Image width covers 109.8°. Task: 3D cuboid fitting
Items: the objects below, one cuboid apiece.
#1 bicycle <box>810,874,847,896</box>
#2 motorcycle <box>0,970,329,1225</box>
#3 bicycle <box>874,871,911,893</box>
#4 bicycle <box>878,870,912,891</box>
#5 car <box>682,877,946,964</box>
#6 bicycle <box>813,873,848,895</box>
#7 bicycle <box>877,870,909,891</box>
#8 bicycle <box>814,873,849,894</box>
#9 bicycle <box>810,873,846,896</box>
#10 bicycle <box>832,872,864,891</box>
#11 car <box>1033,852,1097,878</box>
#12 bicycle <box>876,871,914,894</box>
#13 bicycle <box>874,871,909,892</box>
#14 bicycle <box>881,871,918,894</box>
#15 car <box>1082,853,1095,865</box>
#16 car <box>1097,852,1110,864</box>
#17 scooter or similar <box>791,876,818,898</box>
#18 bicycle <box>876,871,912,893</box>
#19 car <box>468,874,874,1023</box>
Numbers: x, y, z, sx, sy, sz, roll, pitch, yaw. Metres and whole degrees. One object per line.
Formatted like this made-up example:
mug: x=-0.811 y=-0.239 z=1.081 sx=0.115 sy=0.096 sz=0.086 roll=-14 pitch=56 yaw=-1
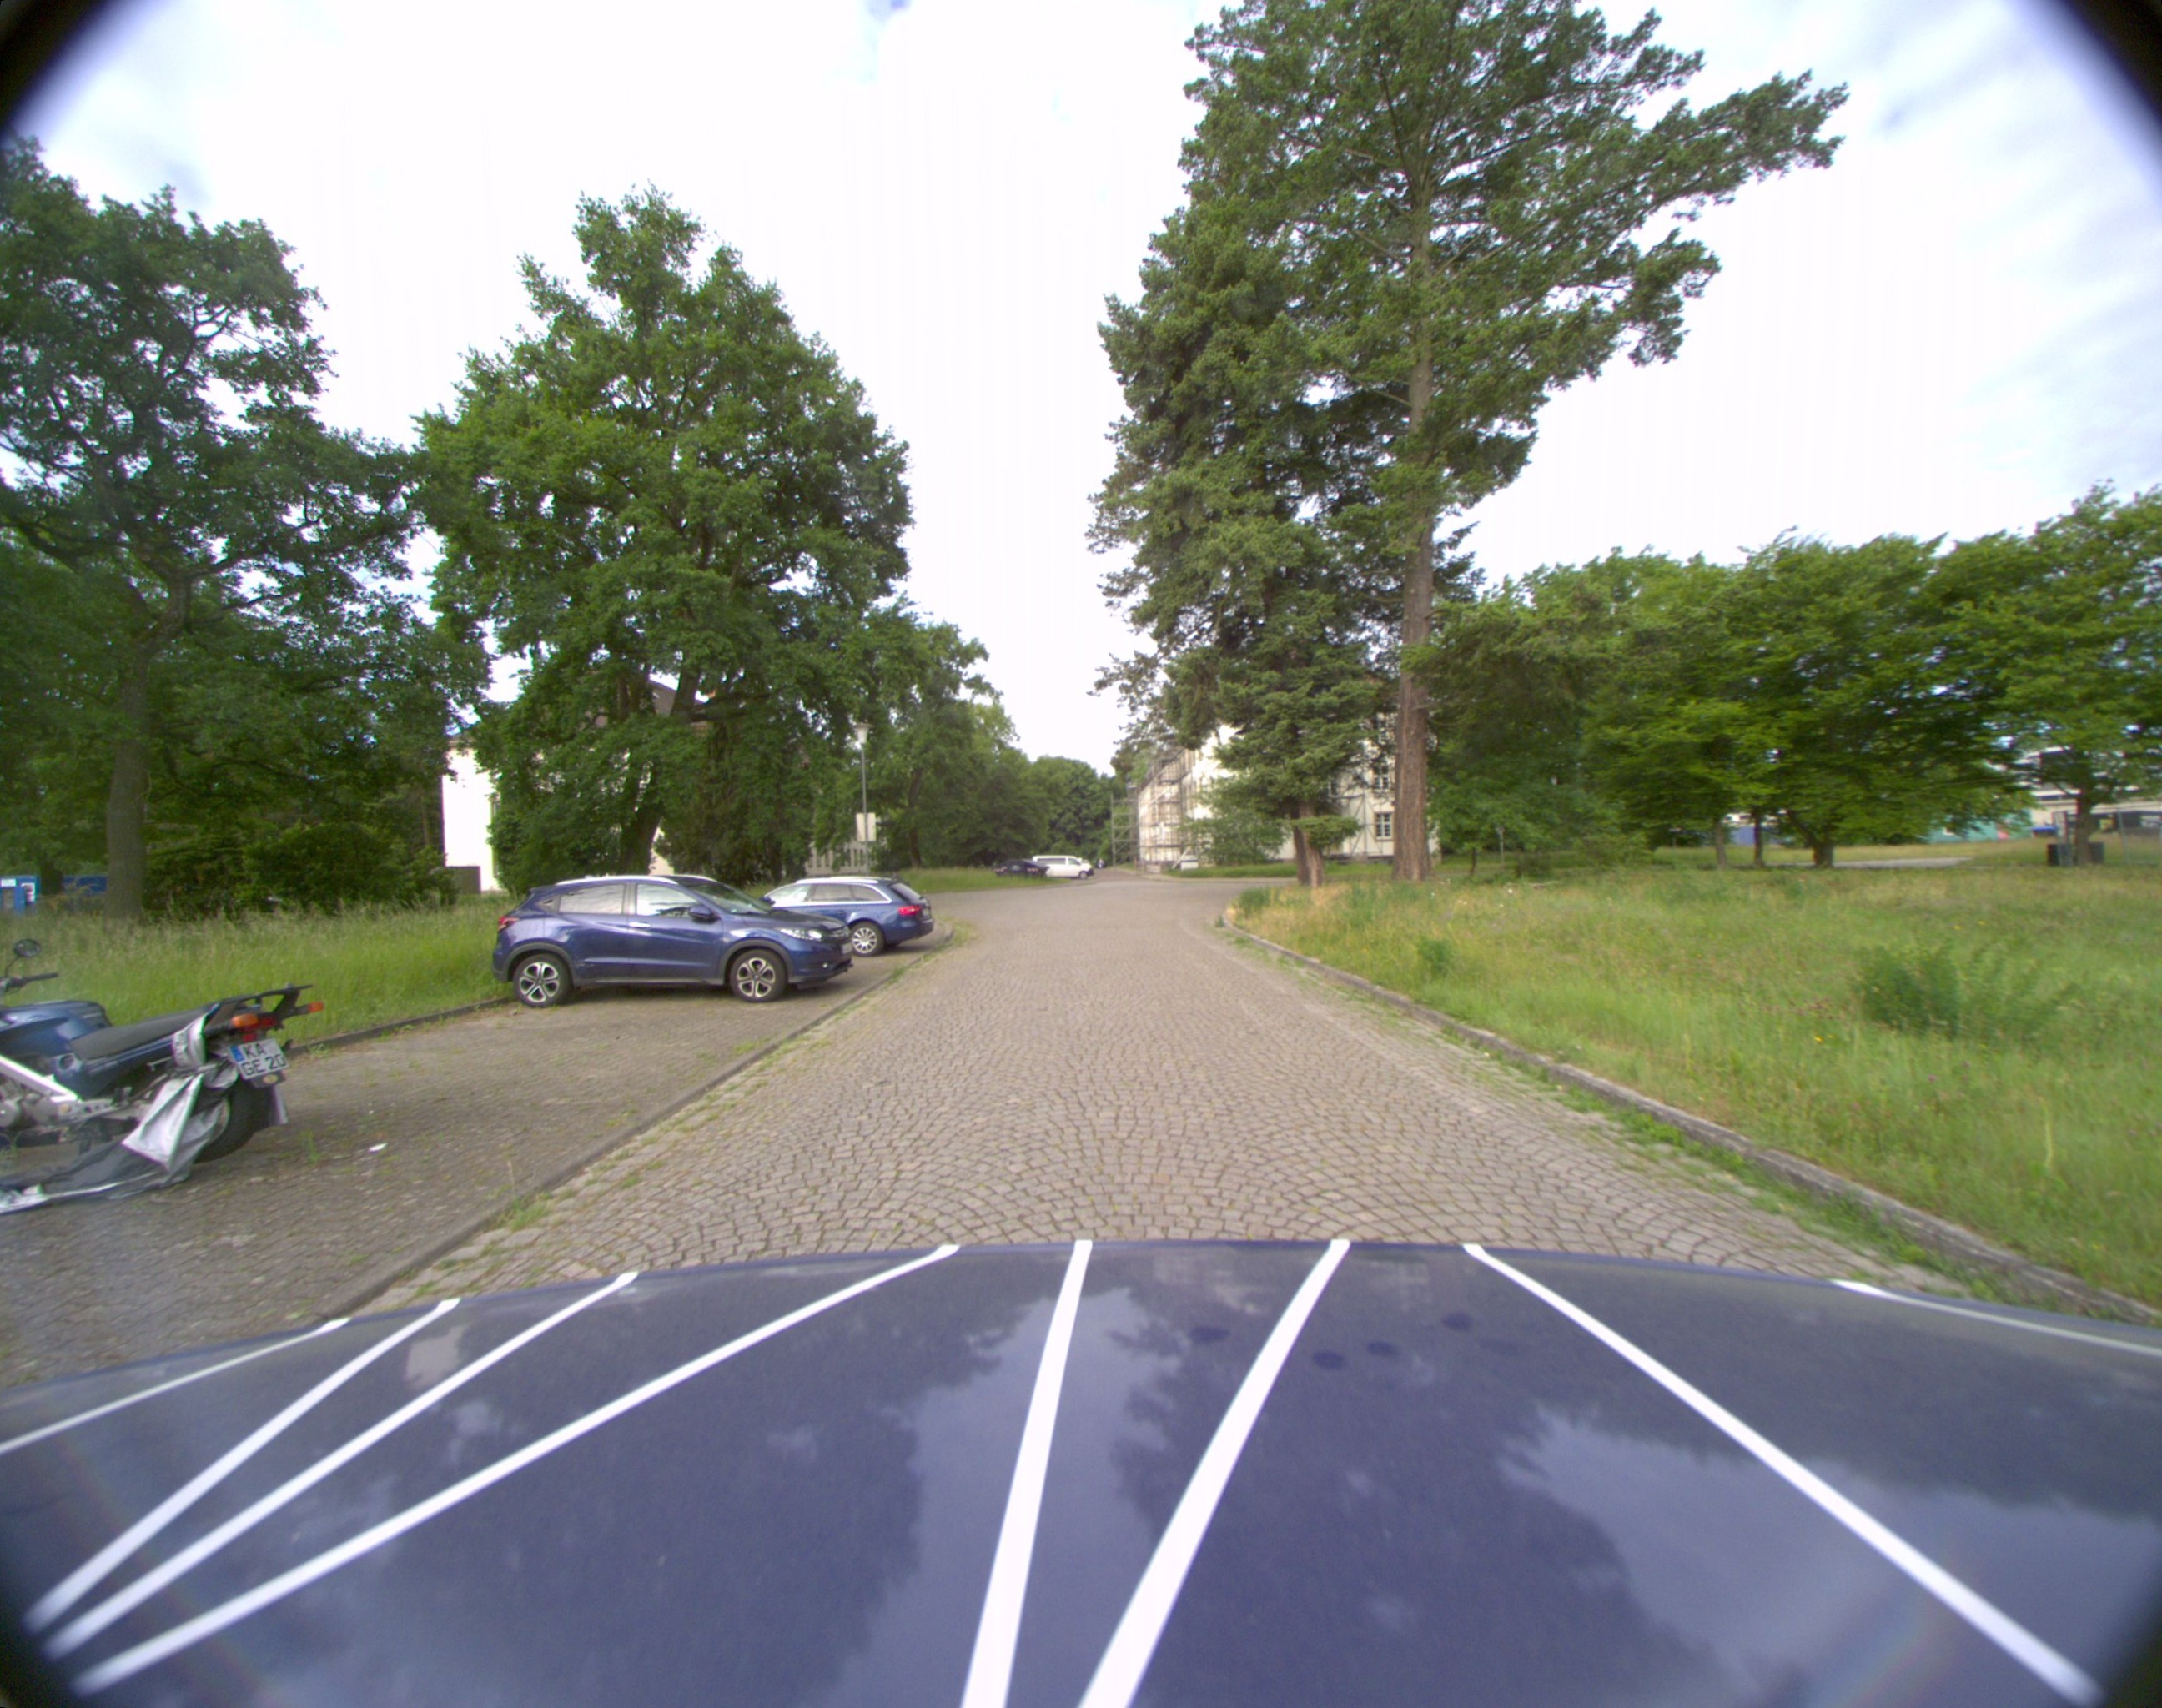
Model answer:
bicycle: x=-14.419 y=1.771 z=43.413 sx=1.862 sy=1.163 sz=0.487 roll=-3 pitch=0 yaw=-26
motorcycle: x=-5.587 y=1.311 z=4.178 sx=2.236 sy=1.195 sz=0.568 roll=-1 pitch=0 yaw=-2
bicycle: x=-11.080 y=1.648 z=44.672 sx=1.942 sy=1.163 sz=0.487 roll=-4 pitch=1 yaw=-25
bicycle: x=-11.627 y=1.672 z=47.530 sx=1.941 sy=1.163 sz=0.487 roll=-4 pitch=1 yaw=-22
car: x=-5.019 y=1.238 z=14.730 sx=4.367 sy=1.430 sz=1.927 roll=-1 pitch=0 yaw=2
bicycle: x=-14.753 y=1.762 z=44.690 sx=1.861 sy=1.163 sz=0.487 roll=-3 pitch=0 yaw=-22
bicycle: x=-12.071 y=1.695 z=48.766 sx=1.940 sy=1.163 sz=0.537 roll=-4 pitch=1 yaw=-16
bicycle: x=-14.900 y=1.768 z=45.456 sx=1.862 sy=1.163 sz=0.487 roll=-3 pitch=0 yaw=-29
bicycle: x=-14.624 y=1.757 z=43.979 sx=1.862 sy=1.163 sz=0.487 roll=-3 pitch=0 yaw=-26
bicycle: x=-14.720 y=1.708 z=47.978 sx=1.860 sy=1.163 sz=0.488 roll=-1 pitch=0 yaw=-10
car: x=-1.316 y=0.883 z=63.550 sx=5.149 sy=2.002 sz=2.000 roll=-2 pitch=1 yaw=0
bicycle: x=-10.557 y=1.622 z=43.079 sx=1.942 sy=1.163 sz=0.487 roll=-4 pitch=1 yaw=-28
bicycle: x=-11.694 y=1.679 z=46.917 sx=1.941 sy=1.163 sz=0.487 roll=-4 pitch=1 yaw=-22
bicycle: x=-10.448 y=1.611 z=43.757 sx=1.942 sy=1.163 sz=0.487 roll=-4 pitch=1 yaw=-28
car: x=1.268 y=0.816 z=129.738 sx=1.963 sy=2.002 sz=4.260 roll=-2 pitch=0 yaw=-1
car: x=3.802 y=0.713 z=129.994 sx=1.963 sy=2.002 sz=4.260 roll=-2 pitch=0 yaw=-1
scooter or similar: x=-15.505 y=1.844 z=42.626 sx=1.308 sy=1.163 sz=0.413 roll=-4 pitch=1 yaw=-1
bicycle: x=-11.143 y=1.650 z=45.285 sx=1.942 sy=1.163 sz=0.487 roll=-4 pitch=1 yaw=-25
car: x=-5.117 y=1.140 z=9.988 sx=4.256 sy=1.613 sz=1.886 roll=-1 pitch=0 yaw=-2
